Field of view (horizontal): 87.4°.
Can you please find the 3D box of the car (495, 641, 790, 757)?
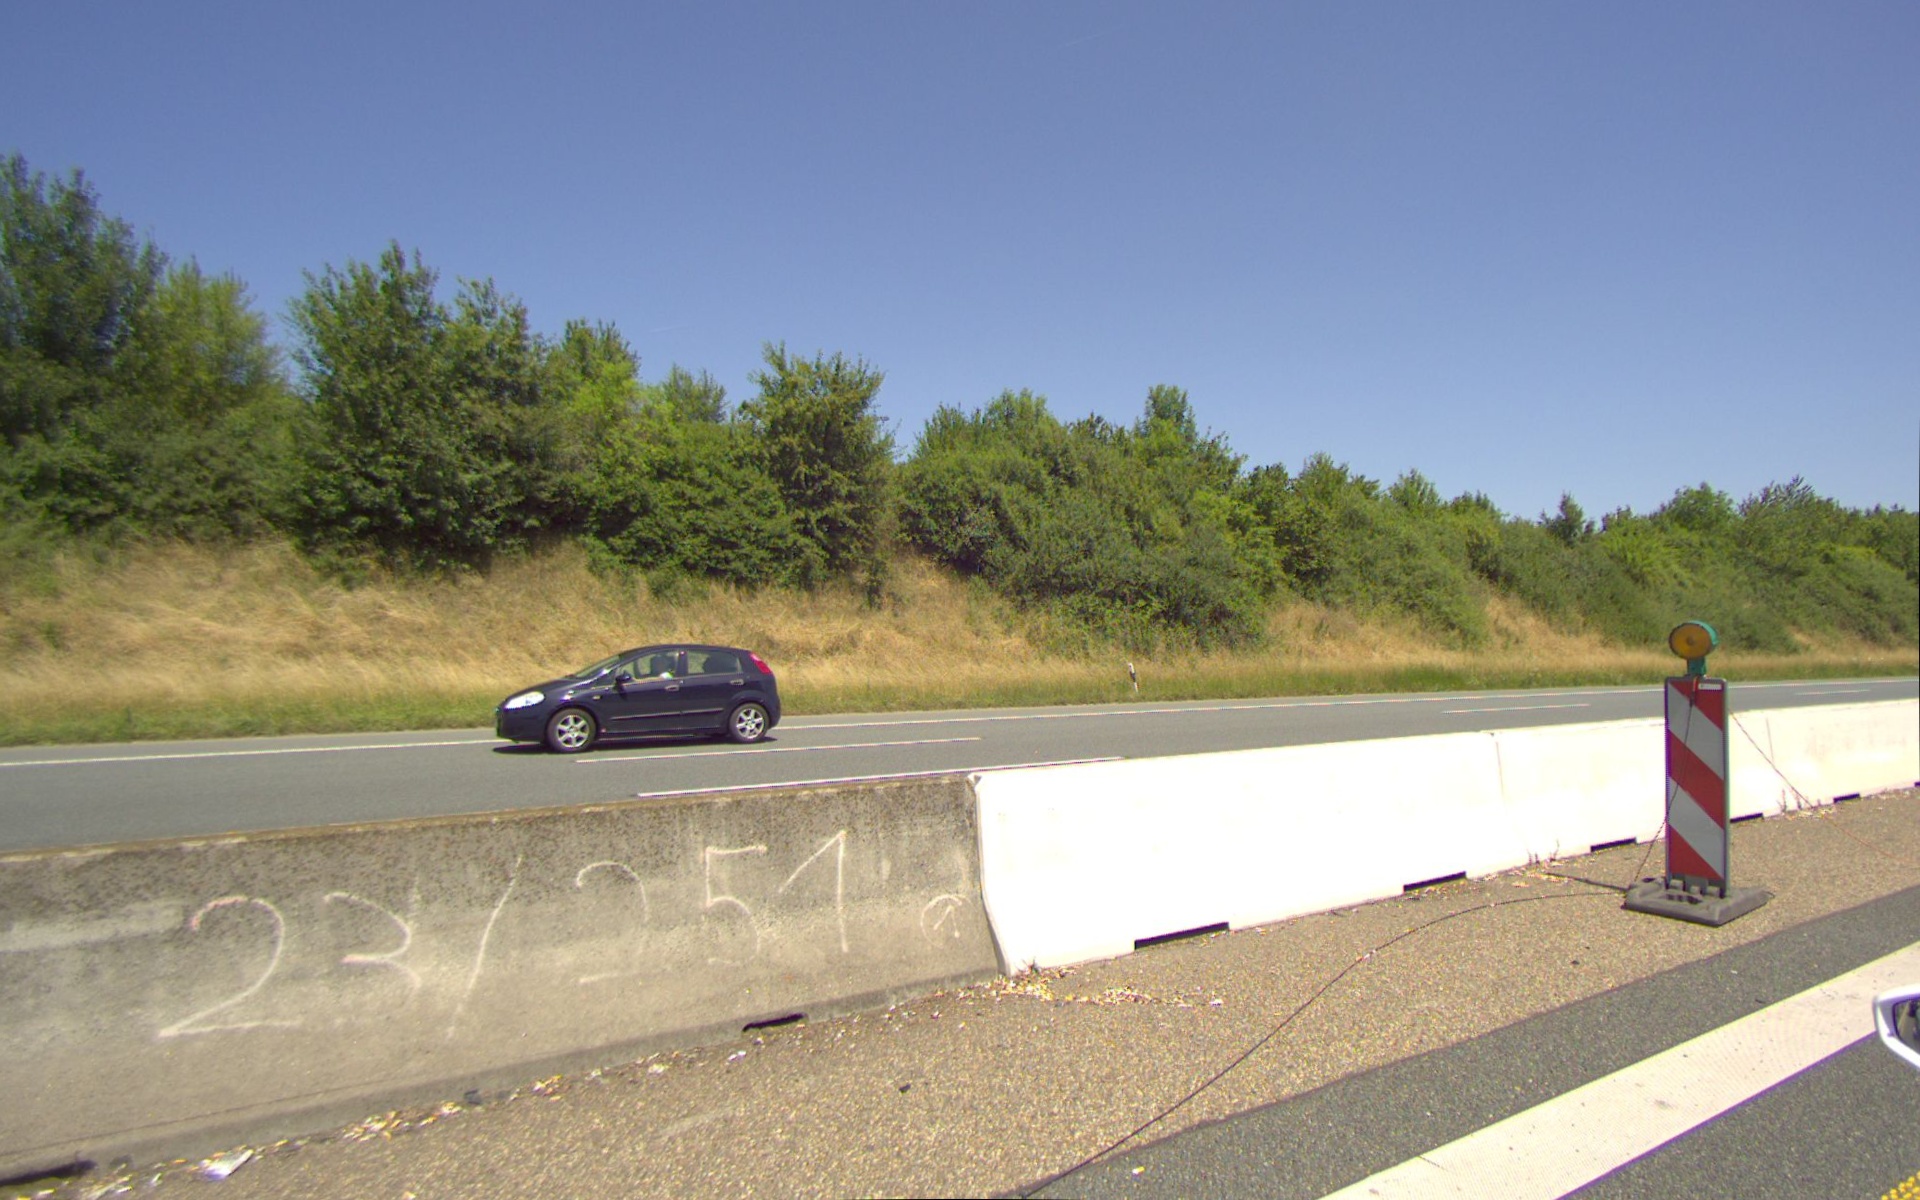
[{"bbox_3d":[-4.591,1.352,14.659,3.807,1.483,1.699,2,-3,-32],"label":"car"}]
